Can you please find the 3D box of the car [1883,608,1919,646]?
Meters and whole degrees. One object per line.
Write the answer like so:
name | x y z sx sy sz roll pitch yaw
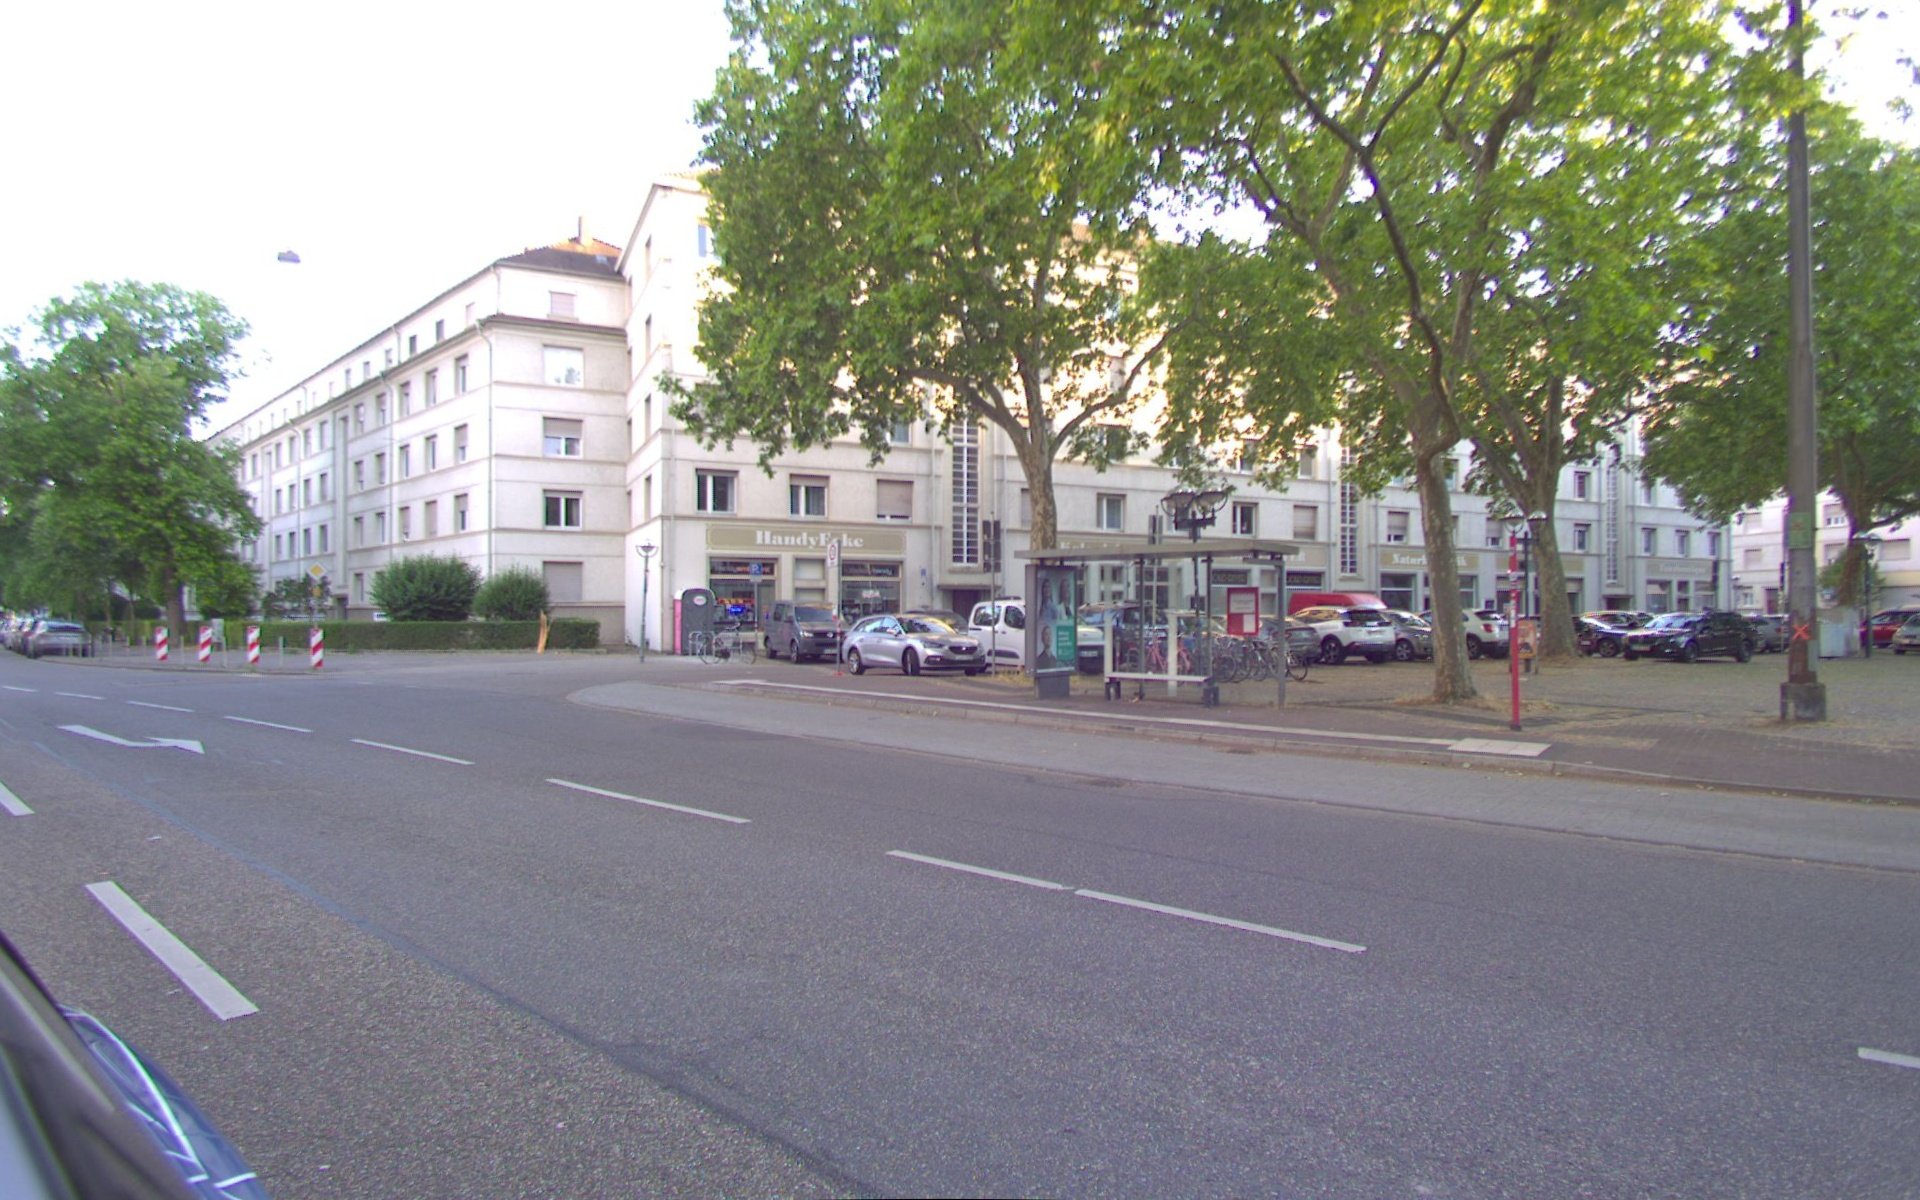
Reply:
car | 45.724 1.216 46.498 1.969 1.748 4.648 2 -4 -40

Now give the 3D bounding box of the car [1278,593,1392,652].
car | 16.649 0.939 45.174 1.965 2.460 4.656 1 0 -26

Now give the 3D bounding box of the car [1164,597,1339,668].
car | 7.975 0.953 28.196 1.965 1.795 4.655 1 -3 -28

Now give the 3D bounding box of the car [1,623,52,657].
car | -48.541 2.041 52.609 1.866 1.612 4.263 -1 0 -44

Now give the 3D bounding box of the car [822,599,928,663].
car | -2.973 0.987 34.309 1.965 1.970 4.656 1 0 -26

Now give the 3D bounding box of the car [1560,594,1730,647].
car | 24.741 0.814 36.742 2.057 1.795 4.655 1 -3 -28

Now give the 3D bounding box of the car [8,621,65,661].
car | -43.342 1.893 47.459 1.866 1.703 4.263 -1 0 -44

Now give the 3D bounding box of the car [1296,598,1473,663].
car | 12.602 0.954 30.365 1.965 1.795 4.655 1 -3 -28

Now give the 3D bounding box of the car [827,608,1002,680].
car | -1.193 1.046 23.881 1.967 1.515 4.652 2 -3 -35

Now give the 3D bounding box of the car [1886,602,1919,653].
car | 33.074 0.892 33.877 3.696 1.674 1.680 -1 0 -23

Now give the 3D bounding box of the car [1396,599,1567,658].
car | 17.014 0.994 33.287 1.965 1.795 4.655 1 -3 -28

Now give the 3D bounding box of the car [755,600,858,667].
car | -5.090 1.018 33.060 1.965 1.970 4.656 1 0 -26

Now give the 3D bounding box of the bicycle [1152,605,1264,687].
bicycle | 5.236 0.926 21.634 0.795 1.626 2.754 0 0 -24

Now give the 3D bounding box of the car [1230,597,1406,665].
car | 10.171 0.943 29.147 1.965 1.795 4.655 1 -3 -28

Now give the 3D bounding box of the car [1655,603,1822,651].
car | 29.890 1.107 39.047 1.965 1.748 4.655 1 -3 -28

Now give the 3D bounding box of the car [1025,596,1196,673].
car | 3.766 0.930 26.209 1.965 1.795 4.655 1 -3 -28

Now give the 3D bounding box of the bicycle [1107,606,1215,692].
bicycle | 4.058 0.938 20.706 0.680 1.626 2.754 0 0 -24

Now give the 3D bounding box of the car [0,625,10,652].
car | -69.887 2.808 73.071 1.866 1.840 4.263 -1 0 -44

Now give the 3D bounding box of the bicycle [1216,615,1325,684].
bicycle | 6.887 1.064 22.663 0.680 1.394 2.754 0 0 -24

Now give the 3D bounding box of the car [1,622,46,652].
car | -56.465 2.209 60.993 1.866 1.612 4.263 -1 0 -44

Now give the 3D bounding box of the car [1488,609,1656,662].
car | 21.365 1.289 35.559 1.965 1.748 4.655 1 -3 -28

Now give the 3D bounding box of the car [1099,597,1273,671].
car | 5.922 0.954 27.113 1.965 1.795 4.655 1 -3 -28

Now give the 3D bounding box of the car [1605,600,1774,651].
car | 27.083 1.010 37.756 1.965 1.795 4.655 1 -3 -28

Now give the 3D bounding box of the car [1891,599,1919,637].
car | 47.620 0.829 48.154 1.969 1.748 4.648 2 -4 -40

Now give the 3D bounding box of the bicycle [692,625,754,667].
bicycle | -7.169 1.375 30.649 1.776 1.215 0.649 0 0 -16

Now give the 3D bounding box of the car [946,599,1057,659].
car | 1.420 0.994 36.590 1.965 1.970 4.656 1 0 -26

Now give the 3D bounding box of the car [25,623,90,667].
car | -37.339 1.819 41.849 1.867 1.612 4.003 -1 0 -44

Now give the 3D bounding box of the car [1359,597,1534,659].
car | 15.173 0.934 31.866 1.965 1.795 4.655 1 -3 -28

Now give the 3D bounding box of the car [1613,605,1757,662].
car | 20.751 0.920 28.971 3.696 1.540 1.680 1 0 -23

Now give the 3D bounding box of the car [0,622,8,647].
car | -76.315 2.692 79.732 1.866 1.879 4.263 -1 0 -44

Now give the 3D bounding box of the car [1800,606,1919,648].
car | 40.633 1.246 45.088 1.969 1.748 4.648 2 -4 -40

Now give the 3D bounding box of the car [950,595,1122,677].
car | 1.721 0.911 24.751 1.965 1.795 4.655 1 -3 -28

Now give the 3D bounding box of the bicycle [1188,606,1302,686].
bicycle | 6.175 0.945 22.150 0.795 1.626 2.754 0 0 -24

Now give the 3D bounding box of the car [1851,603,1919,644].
car | 43.379 1.069 45.485 1.968 1.824 4.658 2 -4 -38

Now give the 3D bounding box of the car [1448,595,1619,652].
car | 19.182 0.860 34.099 1.965 1.795 4.655 1 -3 -28

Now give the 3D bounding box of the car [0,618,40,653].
car | -52.880 1.961 56.691 1.866 1.787 4.263 -1 0 -44
